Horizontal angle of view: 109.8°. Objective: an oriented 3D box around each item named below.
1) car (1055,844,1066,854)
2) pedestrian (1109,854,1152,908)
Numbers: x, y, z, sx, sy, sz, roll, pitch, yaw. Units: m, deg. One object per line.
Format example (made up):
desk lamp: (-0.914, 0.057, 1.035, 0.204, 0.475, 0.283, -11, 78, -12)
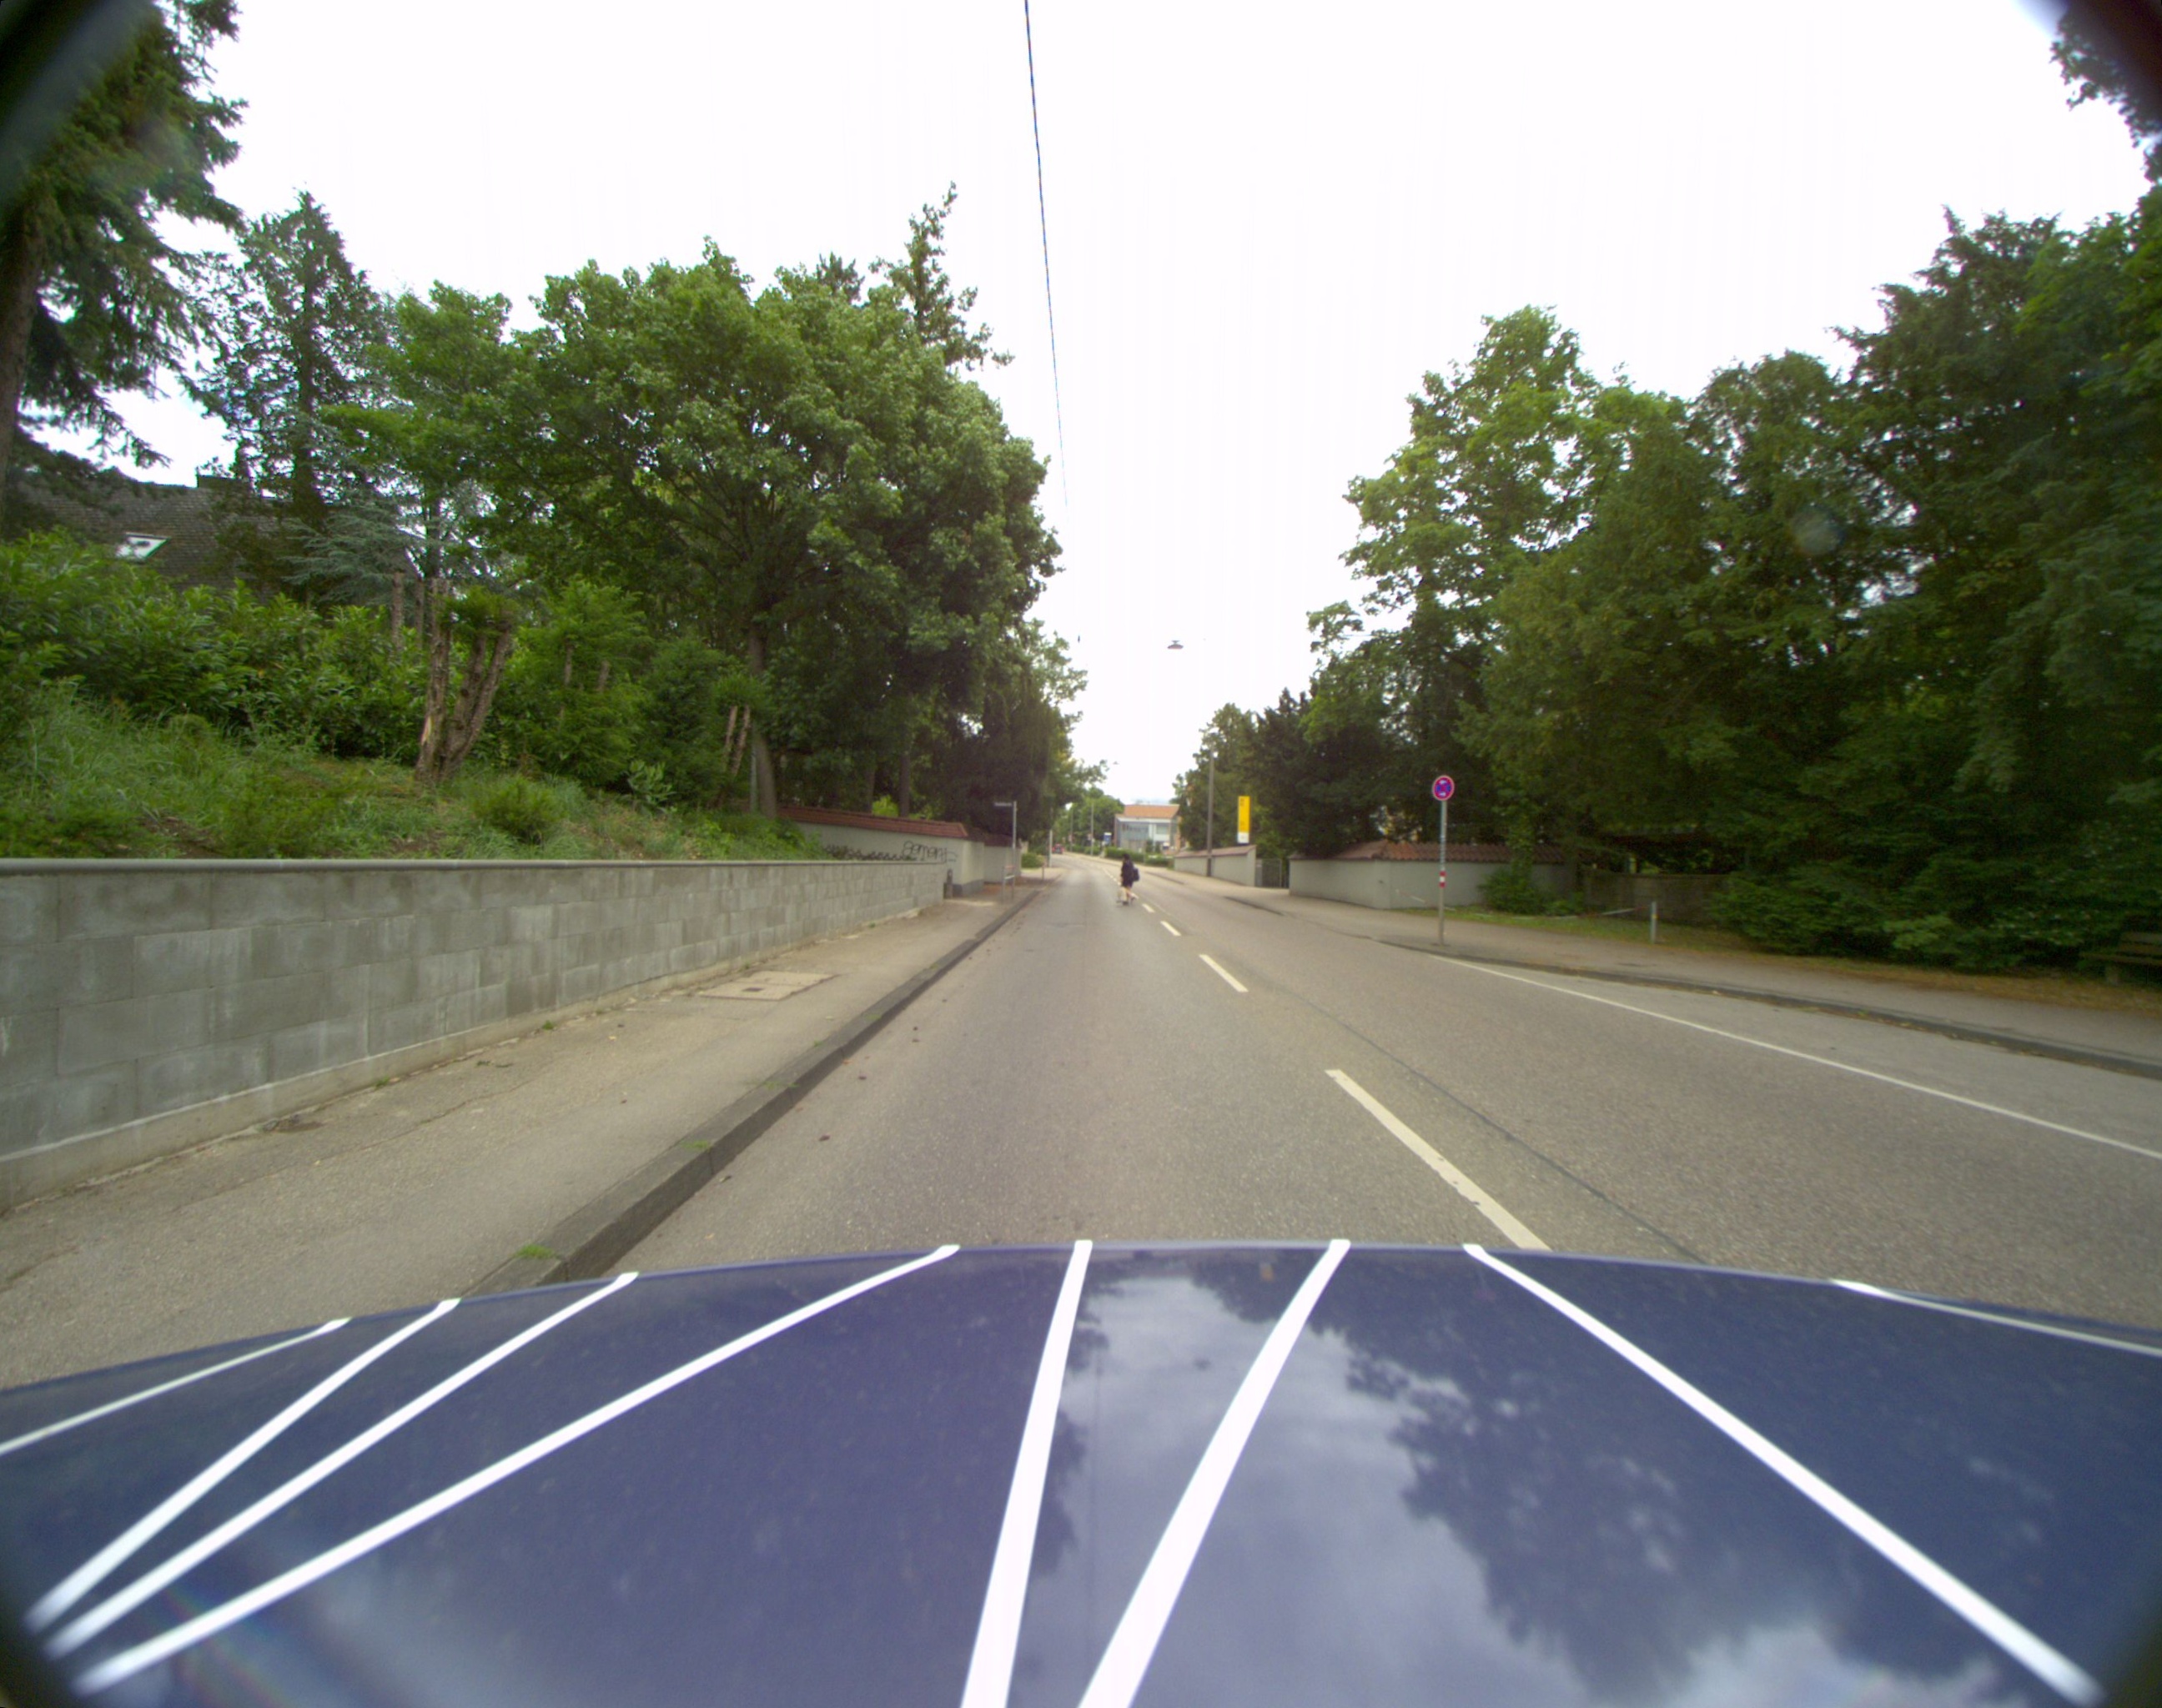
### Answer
car: (-3.829, -1.002, 145.454, 1.895, 1.845, 5.082, 4, 0, 0)
pedestrian: (1.473, 0.779, 22.707, 0.900, 1.551, 0.930, 1, 2, 38)
